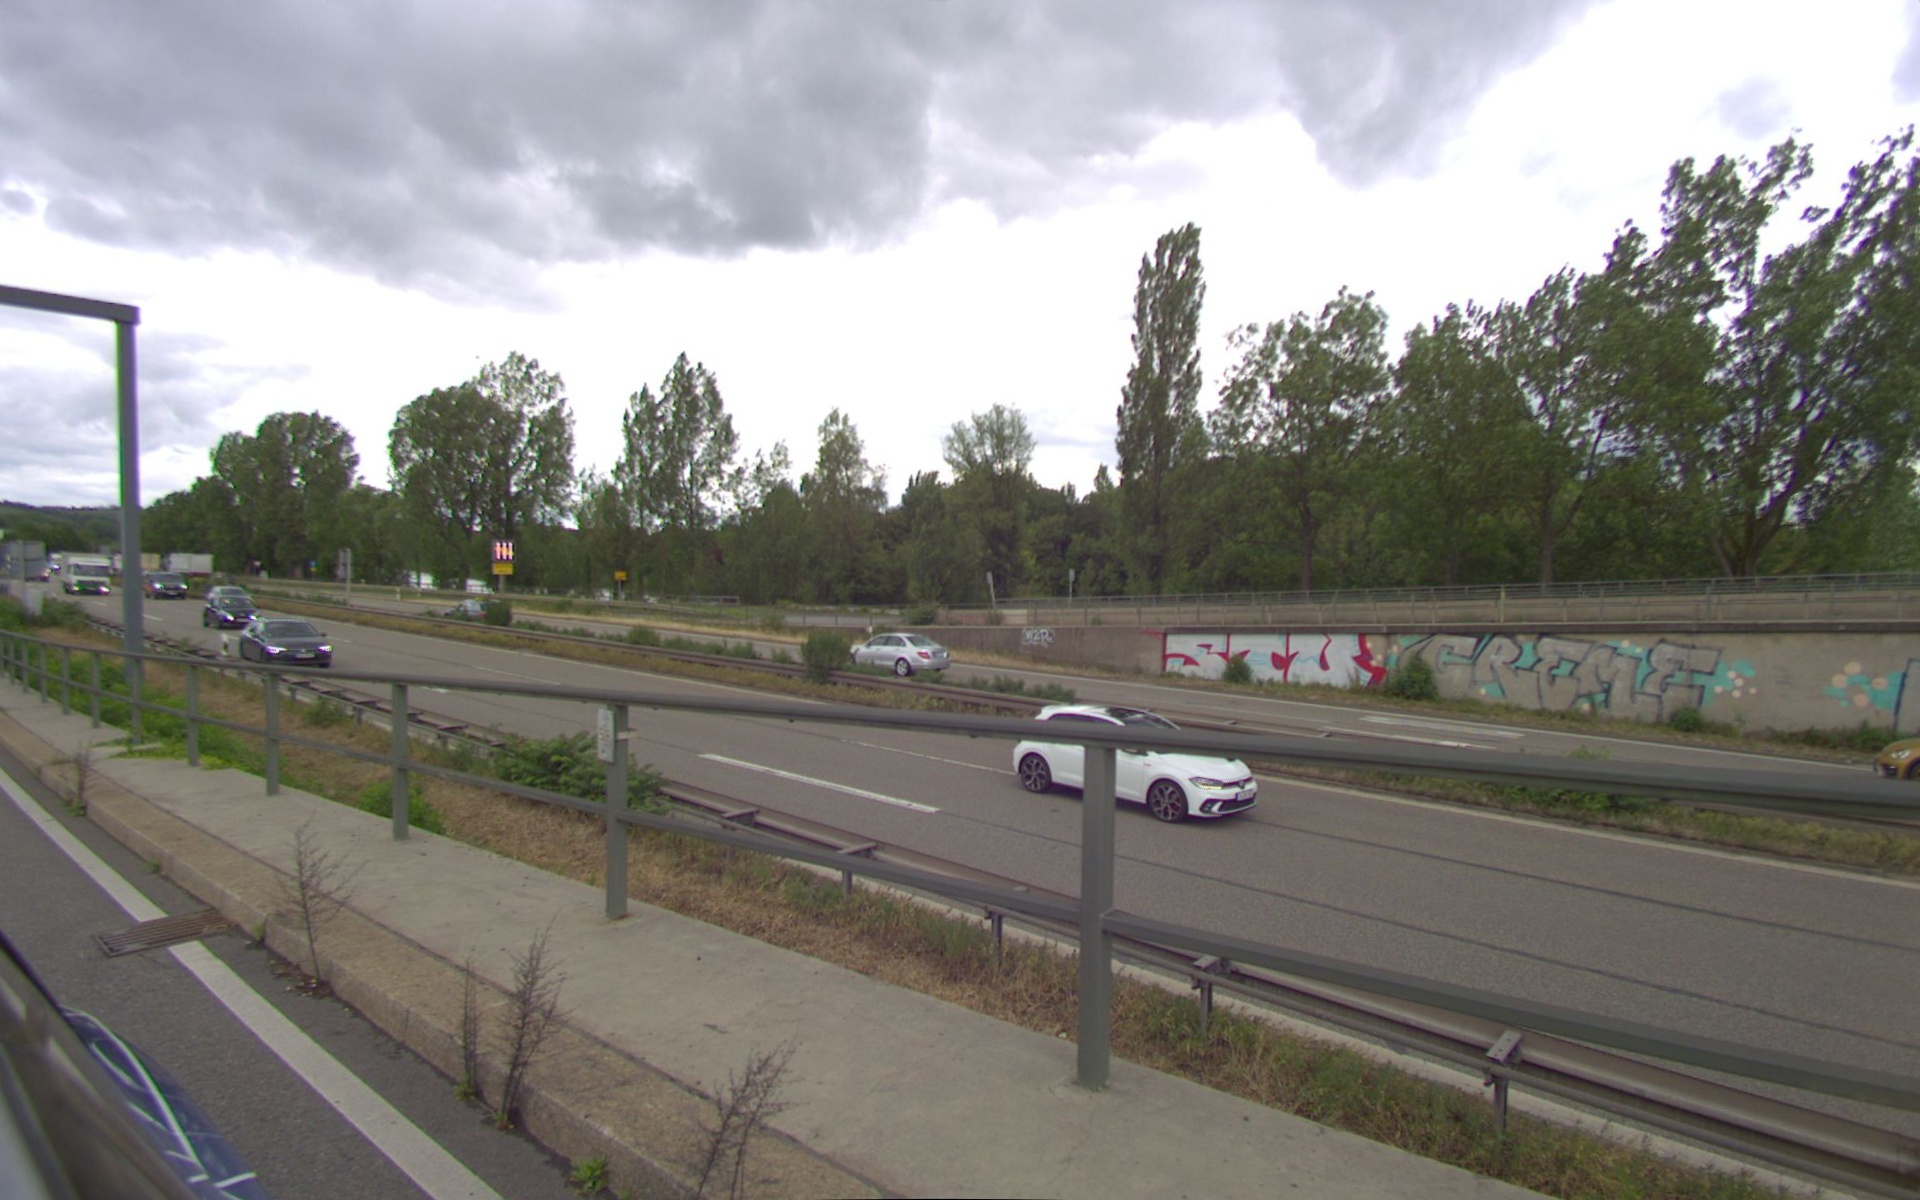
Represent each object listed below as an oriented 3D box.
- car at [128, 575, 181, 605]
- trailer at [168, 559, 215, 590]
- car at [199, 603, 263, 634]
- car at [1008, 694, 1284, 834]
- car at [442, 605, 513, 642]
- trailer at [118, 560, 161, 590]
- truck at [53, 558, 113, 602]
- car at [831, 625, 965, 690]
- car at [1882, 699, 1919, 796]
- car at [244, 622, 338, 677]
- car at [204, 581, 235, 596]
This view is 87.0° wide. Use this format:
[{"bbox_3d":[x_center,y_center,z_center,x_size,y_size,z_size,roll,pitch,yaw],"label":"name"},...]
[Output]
[{"bbox_3d":[-59.797,-0.775,75.100,5.337,2.028,2.072,3,2,41],"label":"car"},{"bbox_3d":[-102.408,-3.464,134.731,13.516,3.978,2.759,3,3,43],"label":"trailer"},{"bbox_3d":[-33.869,0.836,46.999,3.647,1.337,1.705,1,0,42],"label":"car"},{"bbox_3d":[2.881,2.490,16.236,4.001,1.511,1.833,1,0,44],"label":"car"},{"bbox_3d":[-24.715,1.182,51.764,4.001,1.741,1.971,1,0,44],"label":"car"},{"bbox_3d":[-134.928,-4.190,166.330,14.783,4.708,3.426,2,2,43],"label":"trailer"},{"bbox_3d":[-68.934,-1.629,79.449,2.997,3.182,7.574,1,1,-45],"label":"truck"},{"bbox_3d":[-2.285,1.992,36.303,4.703,1.704,1.973,6,3,41],"label":"car"},{"bbox_3d":[20.808,3.026,19.239,4.700,1.732,1.973,2,1,40],"label":"car"},{"bbox_3d":[-21.138,1.501,31.912,1.911,1.512,4.310,1,0,-41],"label":"car"},{"bbox_3d":[-76.806,-1.197,104.948,4.001,1.446,1.971,1,0,43],"label":"car"}]
